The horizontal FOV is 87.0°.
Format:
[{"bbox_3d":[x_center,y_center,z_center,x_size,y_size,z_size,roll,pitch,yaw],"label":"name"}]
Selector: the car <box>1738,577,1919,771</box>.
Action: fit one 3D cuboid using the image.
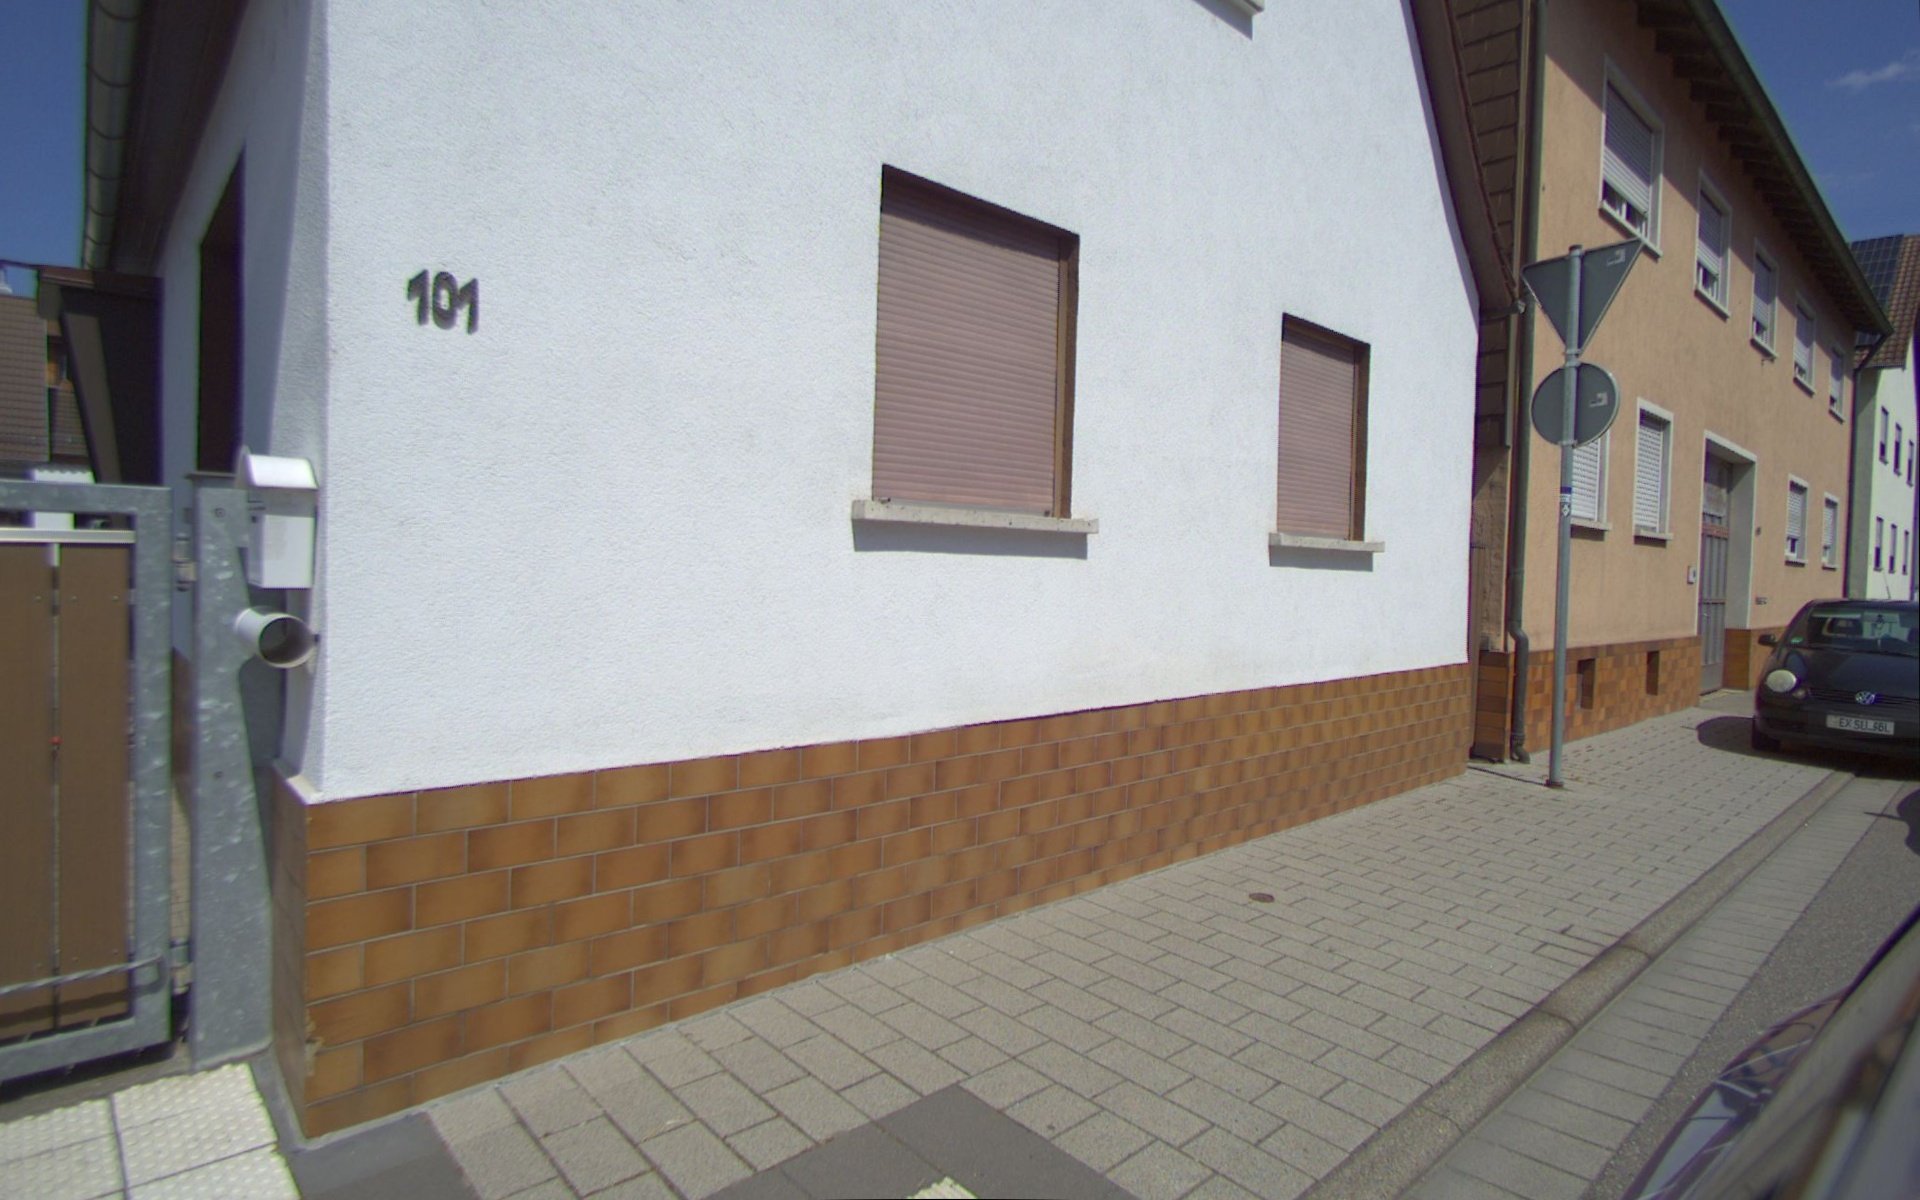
[{"bbox_3d":[8.810,0.604,9.548,3.568,1.480,1.689,0,4,-43],"label":"car"}]
